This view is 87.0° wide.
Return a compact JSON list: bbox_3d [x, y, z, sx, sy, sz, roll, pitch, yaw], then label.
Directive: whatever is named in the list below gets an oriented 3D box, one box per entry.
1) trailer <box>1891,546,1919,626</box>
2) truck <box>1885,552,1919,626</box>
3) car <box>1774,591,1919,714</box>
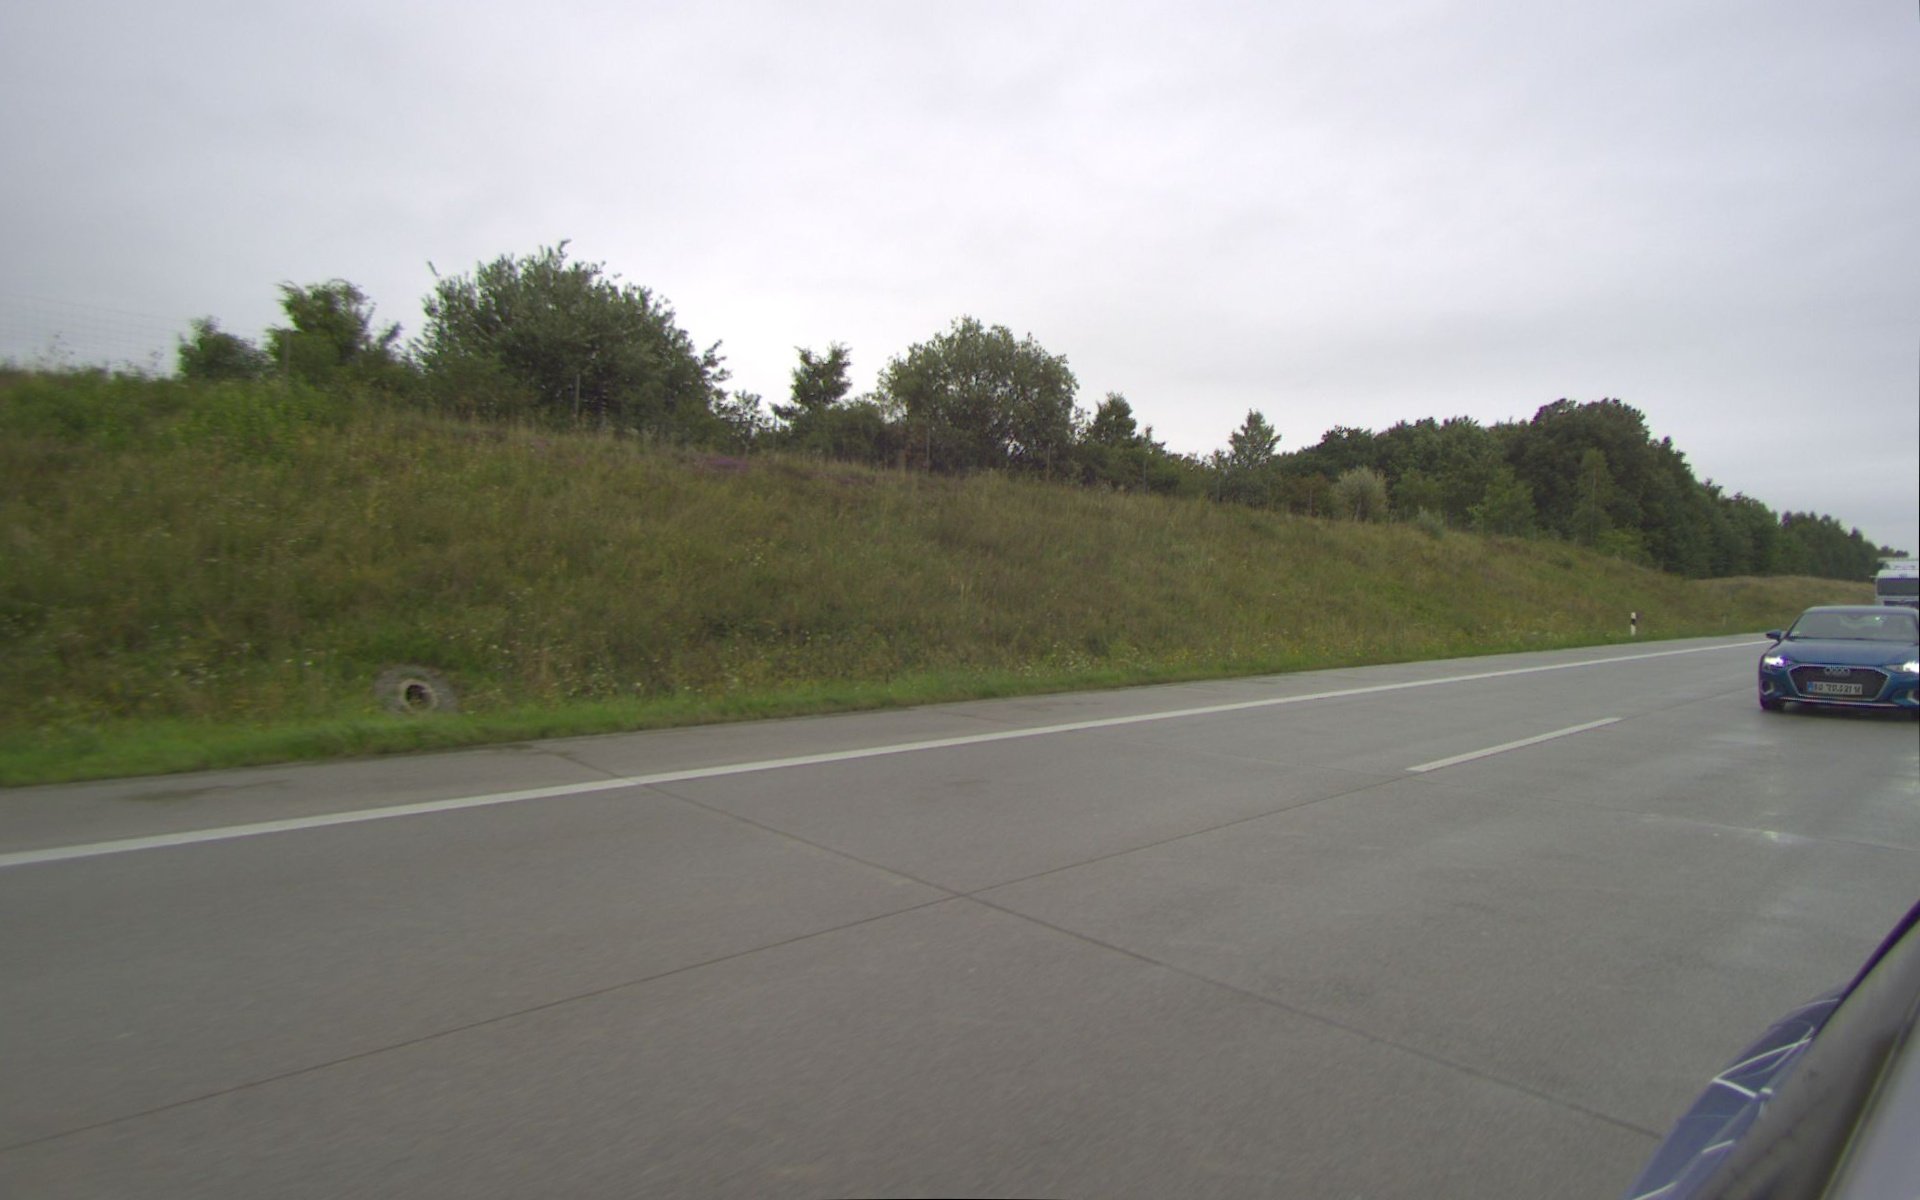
[{"bbox_3d":[59.373,-0.675,61.331,14.938,4.436,2.711,1,-2,-41],"label":"trailer"},{"bbox_3d":[53.636,-0.542,56.244,5.585,4.005,2.641,1,-2,-41],"label":"truck"},{"bbox_3d":[13.063,0.649,14.251,4.591,1.477,1.732,0,1,-41],"label":"car"}]
